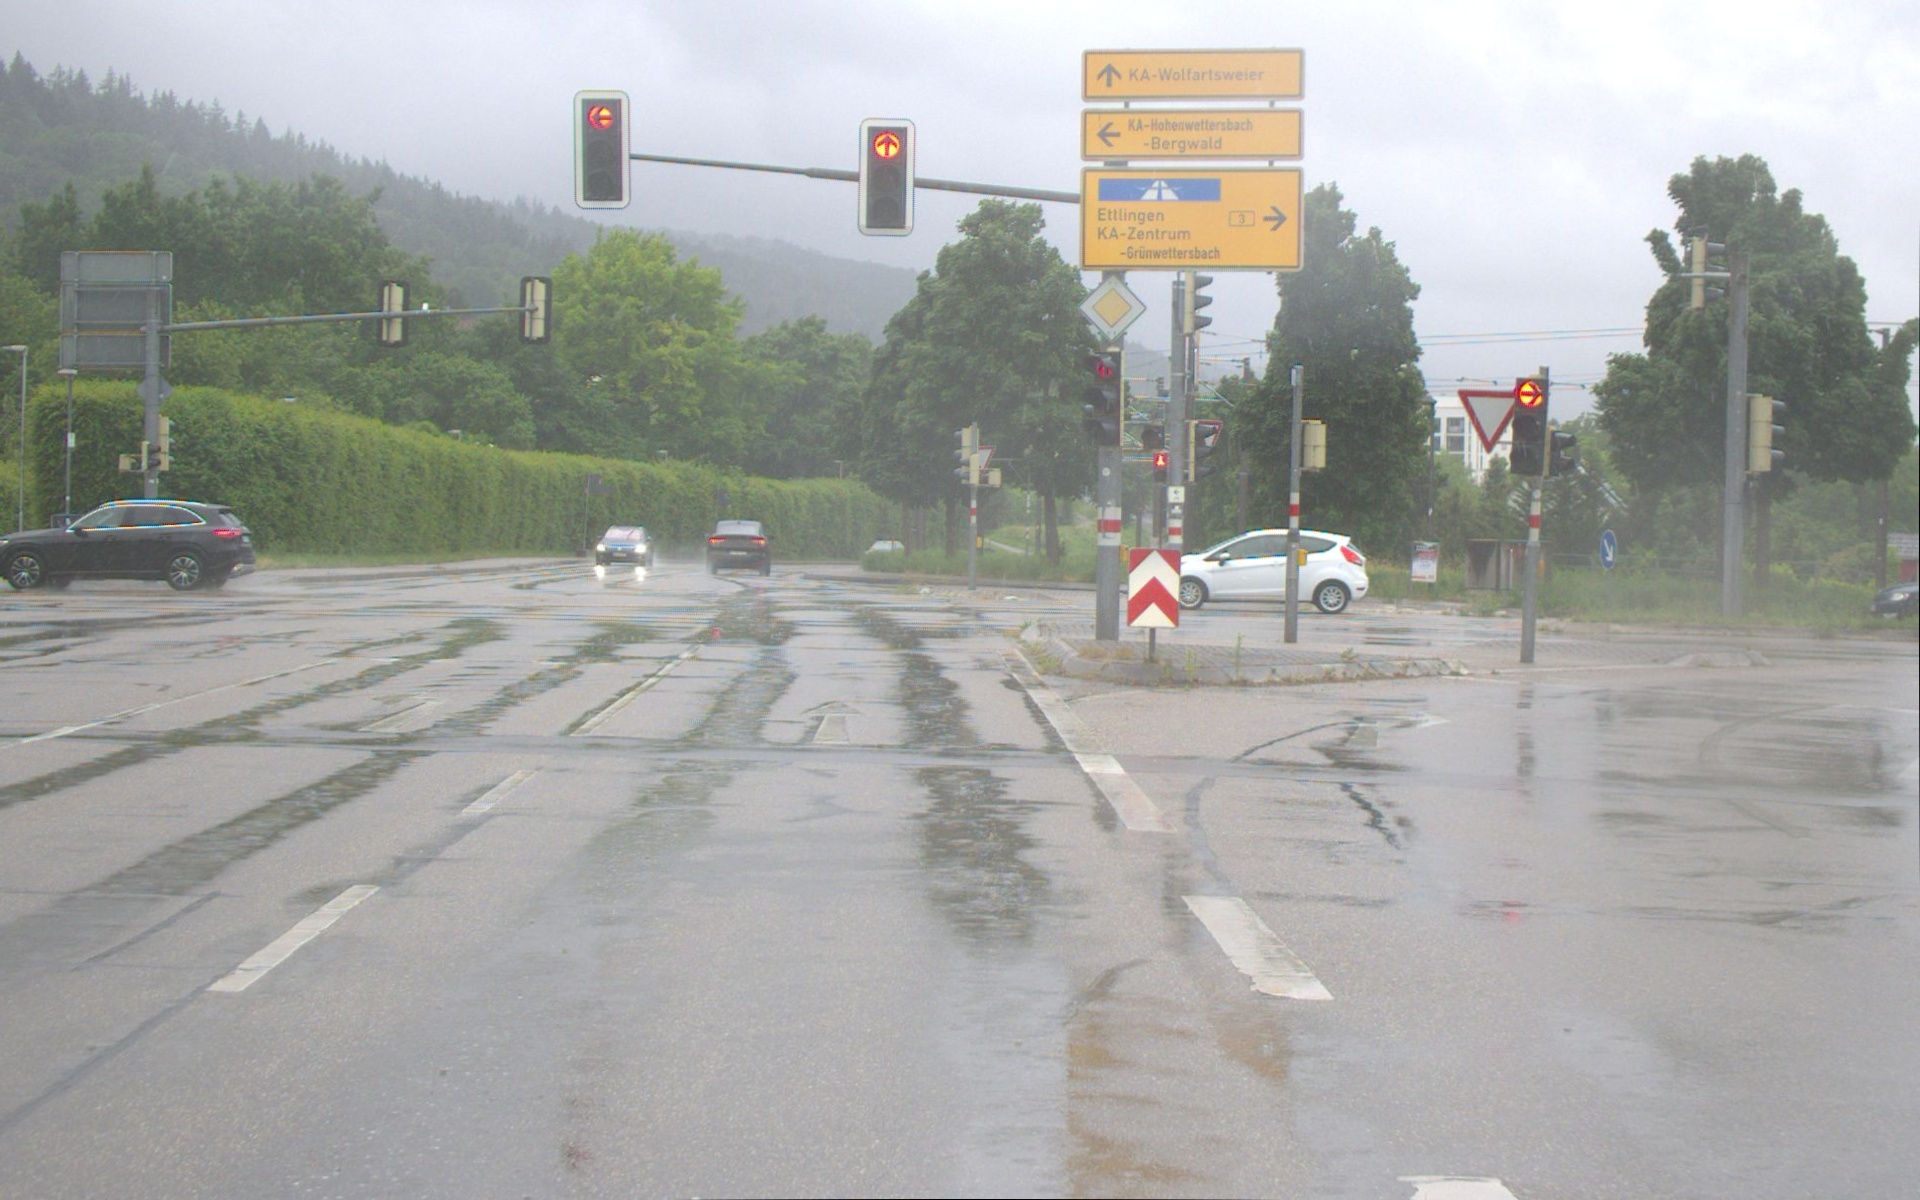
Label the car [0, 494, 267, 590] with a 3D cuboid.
[{"bbox_3d":[-15.082,-1.057,62.187,4.670,1.633,1.822,1,2,2],"label":"car"}]

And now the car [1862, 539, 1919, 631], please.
[{"bbox_3d":[18.328,-0.239,60.037,4.670,1.548,1.822,1,2,4],"label":"car"}]

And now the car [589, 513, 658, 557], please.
[{"bbox_3d":[-12.414,-2.411,127.013,1.879,1.568,4.644,-1,1,3],"label":"car"}]

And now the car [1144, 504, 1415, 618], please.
[{"bbox_3d":[5.644,-0.712,60.898,4.670,1.909,1.915,1,2,5],"label":"car"}]

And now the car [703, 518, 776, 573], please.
[{"bbox_3d":[-6.502,-1.635,101.918,1.879,1.568,4.645,-1,1,0],"label":"car"}]

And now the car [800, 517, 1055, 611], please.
[{"bbox_3d":[-0.581,-0.689,64.714,4.670,1.548,1.822,2,2,2],"label":"car"}]
